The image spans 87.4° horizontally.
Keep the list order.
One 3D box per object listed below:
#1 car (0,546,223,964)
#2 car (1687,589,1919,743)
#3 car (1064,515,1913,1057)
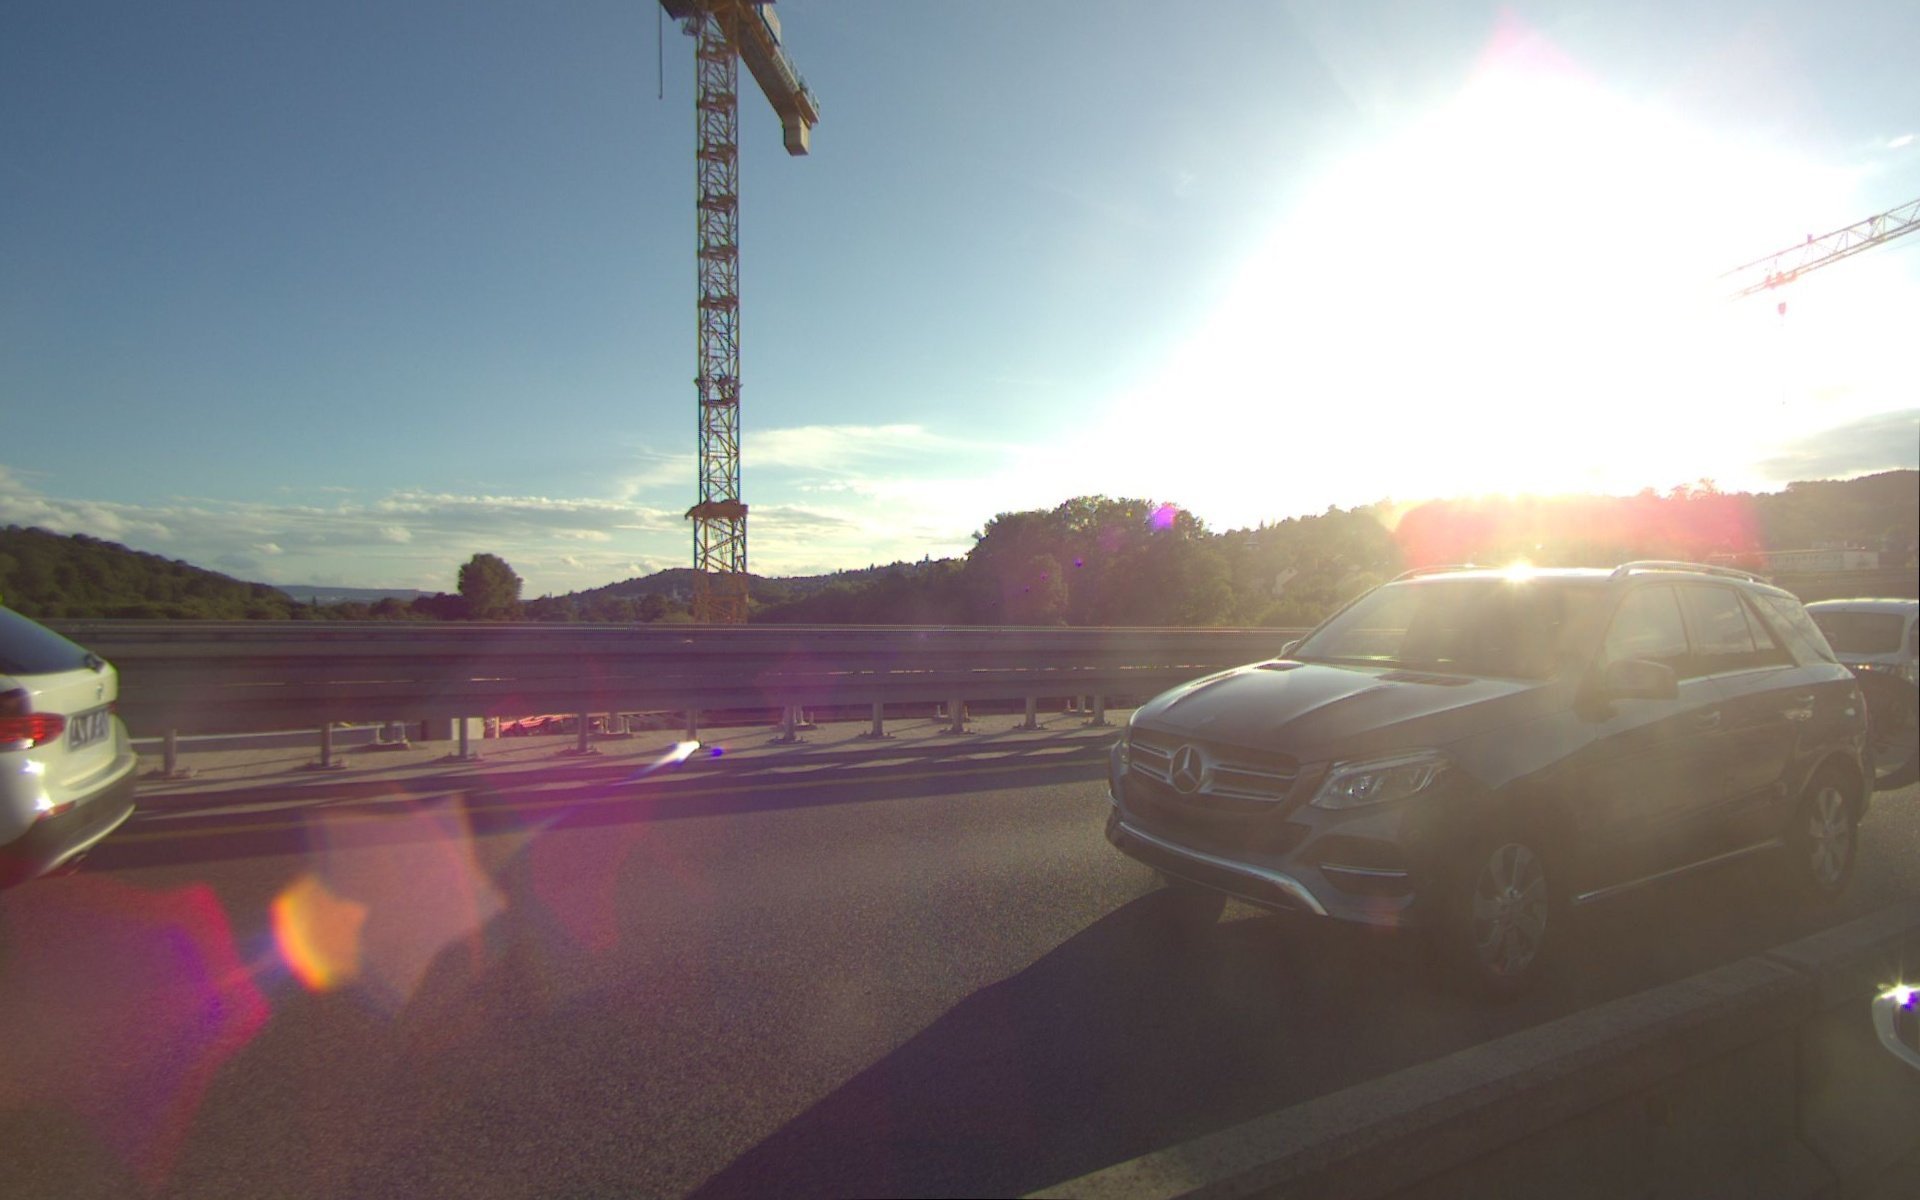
[{"bbox_3d":[-5.545,0.565,3.766,4.237,1.567,1.920,1,-1,-30],"label":"car"},{"bbox_3d":[12.887,0.872,14.660,4.229,1.881,1.985,1,3,-29],"label":"car"},{"bbox_3d":[2.980,0.635,5.342,4.621,1.777,1.918,1,1,-32],"label":"car"}]
